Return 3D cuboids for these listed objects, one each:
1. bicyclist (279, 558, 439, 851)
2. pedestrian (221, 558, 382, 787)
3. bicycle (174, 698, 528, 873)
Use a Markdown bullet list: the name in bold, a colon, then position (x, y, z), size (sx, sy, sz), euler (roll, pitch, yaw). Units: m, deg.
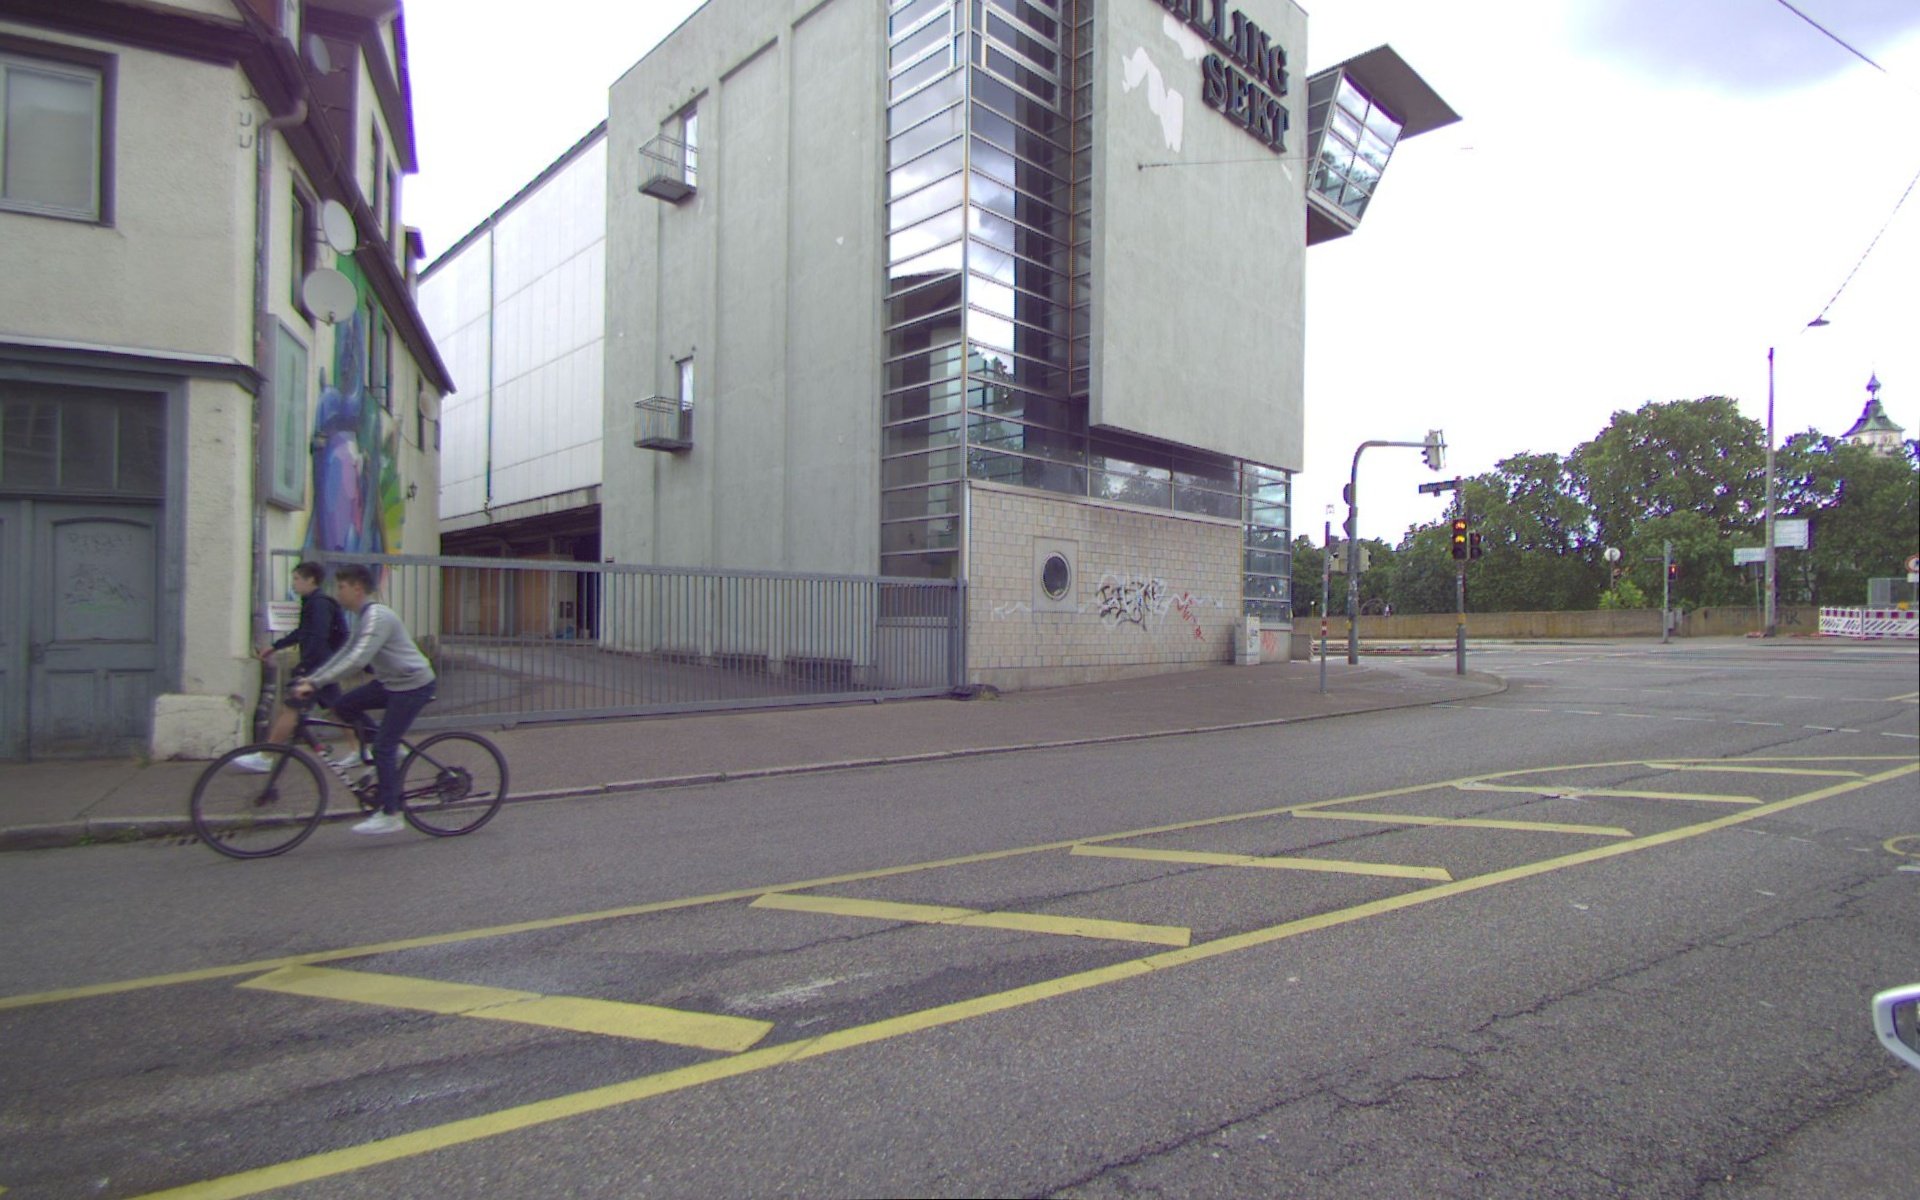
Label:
- **bicyclist**: position (-3.809, 0.626, 6.429), size (0.800, 1.723, 0.721), euler (1, -1, -26)
- **pedestrian**: position (-5.896, 0.597, 9.086), size (1.077, 1.911, 1.050), euler (-1, 1, -27)
- **bicycle**: position (-3.768, 1.125, 6.397), size (1.855, 0.904, 0.539), euler (1, -1, -26)
